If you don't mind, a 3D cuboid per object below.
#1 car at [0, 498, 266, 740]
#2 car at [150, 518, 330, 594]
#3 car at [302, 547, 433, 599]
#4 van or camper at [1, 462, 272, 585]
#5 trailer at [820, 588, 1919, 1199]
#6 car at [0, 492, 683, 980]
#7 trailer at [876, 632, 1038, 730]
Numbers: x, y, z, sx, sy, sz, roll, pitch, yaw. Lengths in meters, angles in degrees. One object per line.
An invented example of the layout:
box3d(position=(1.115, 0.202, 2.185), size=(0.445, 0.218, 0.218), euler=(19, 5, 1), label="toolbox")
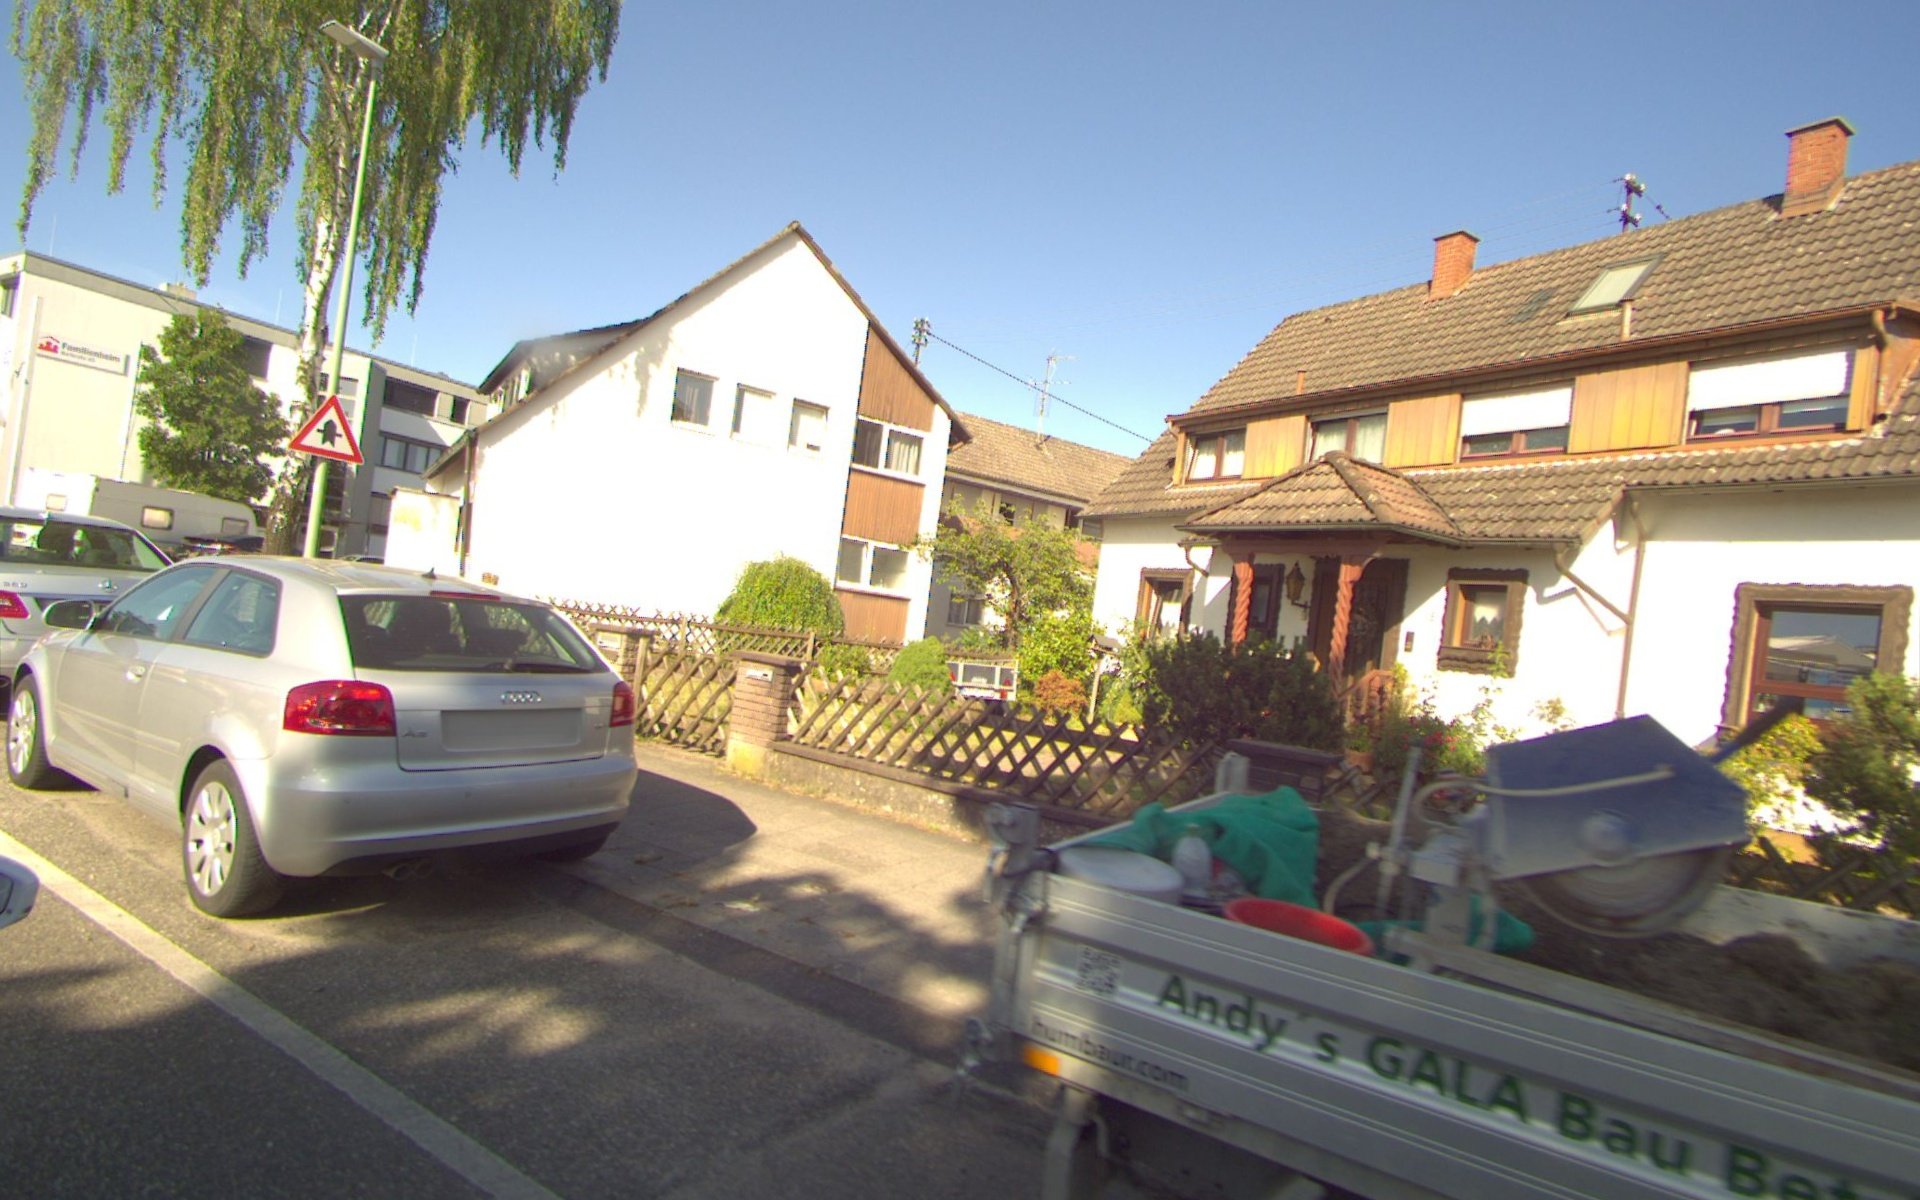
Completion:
box3d(position=(-7.853, -0.046, 8.110), size=(4.459, 1.560, 1.788), euler=(7, -1, 29), label="car")
box3d(position=(-20.533, -1.192, 28.920), size=(1.776, 1.637, 4.004), euler=(7, -2, 9), label="car")
box3d(position=(-25.951, -1.151, 44.218), size=(1.771, 1.637, 4.518), euler=(7, -2, 32), label="car")
box3d(position=(-23.336, -2.040, 28.954), size=(2.246, 2.571, 5.839), euler=(7, -1, 8), label="van or camper")
box3d(position=(1.497, 0.977, 2.133), size=(3.146, 1.556, 1.630), euler=(7, -1, 33), label="trailer")
box3d(position=(-3.501, 0.430, 5.282), size=(3.980, 1.560, 1.676), euler=(7, -2, 36), label="car")
box3d(position=(-0.101, 1.162, 14.915), size=(1.633, 1.084, 2.176), euler=(8, -1, -21), label="trailer")
